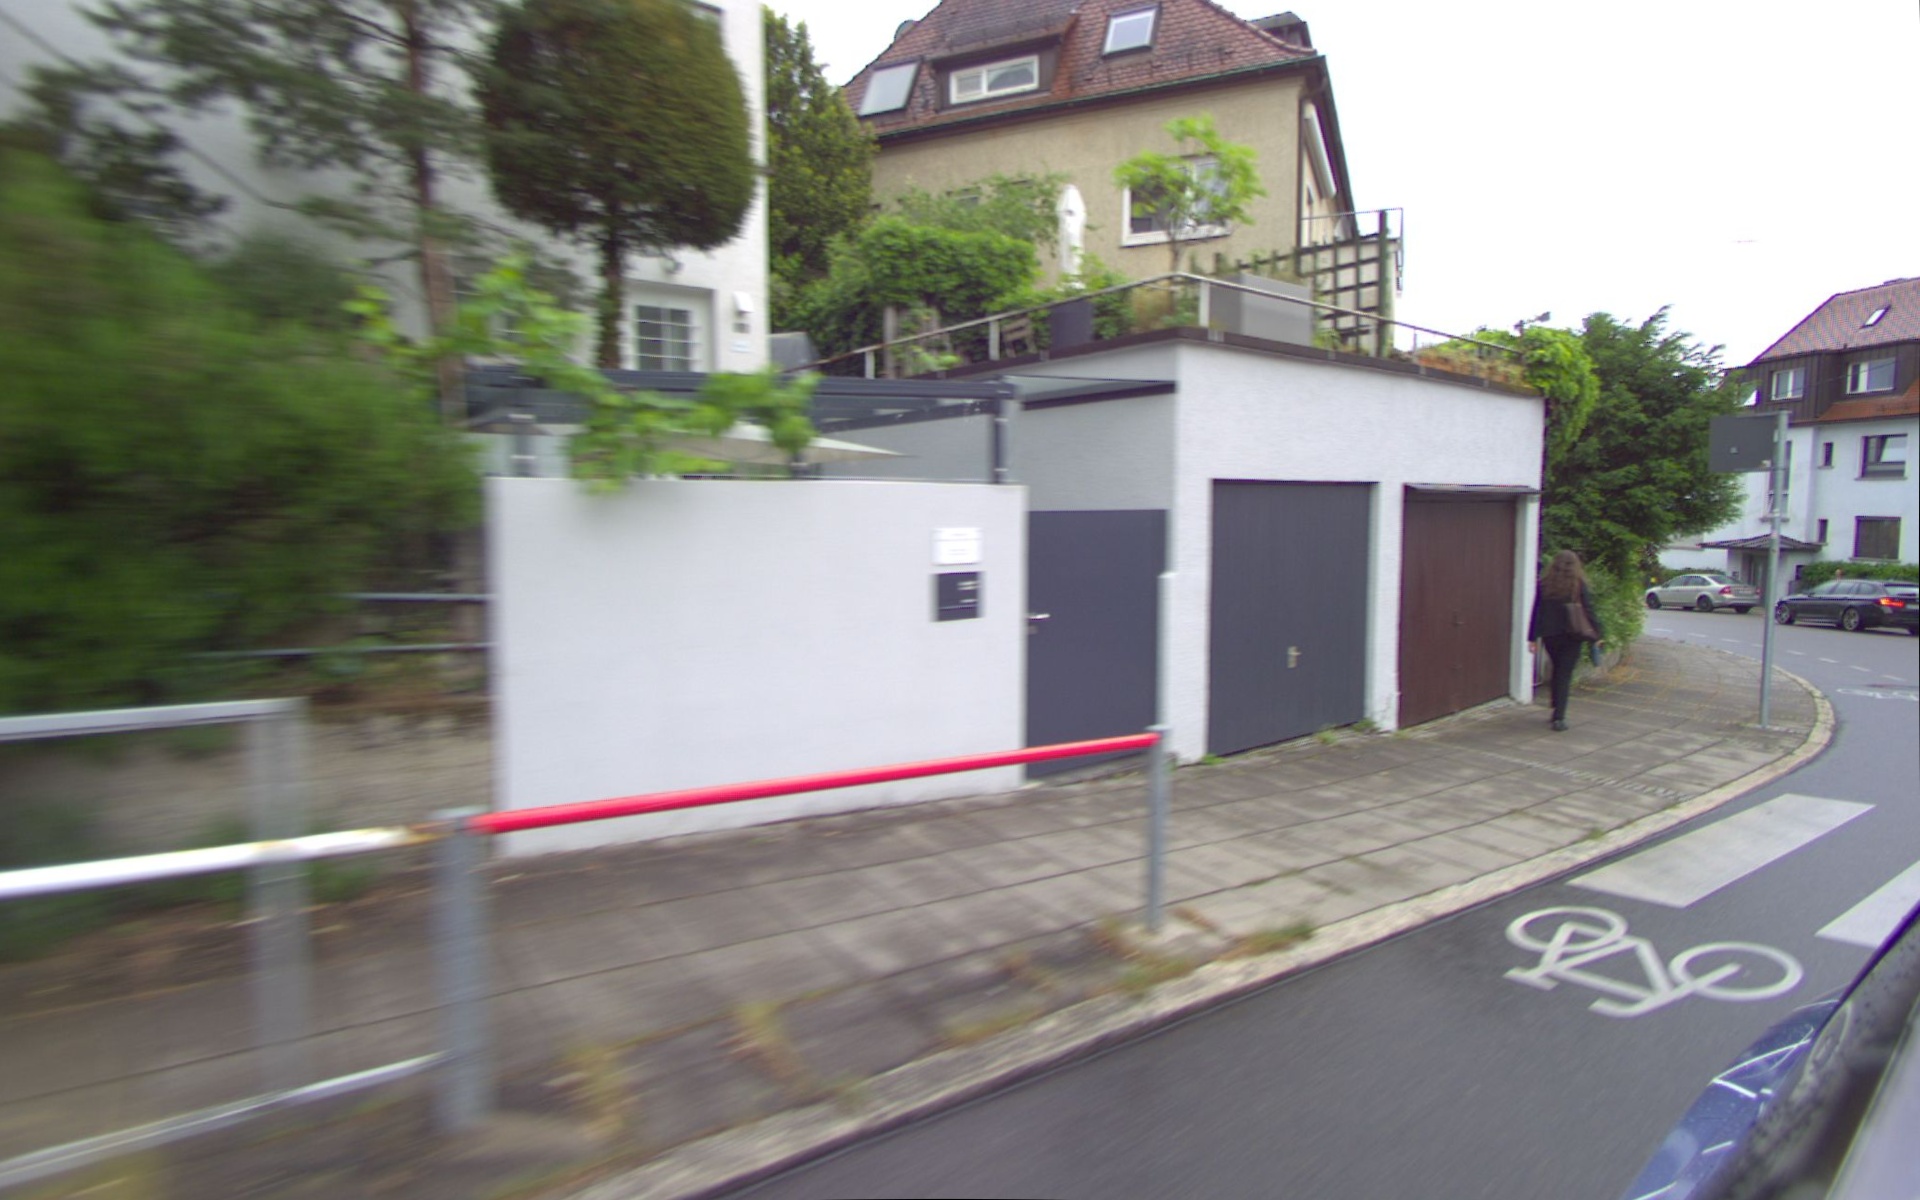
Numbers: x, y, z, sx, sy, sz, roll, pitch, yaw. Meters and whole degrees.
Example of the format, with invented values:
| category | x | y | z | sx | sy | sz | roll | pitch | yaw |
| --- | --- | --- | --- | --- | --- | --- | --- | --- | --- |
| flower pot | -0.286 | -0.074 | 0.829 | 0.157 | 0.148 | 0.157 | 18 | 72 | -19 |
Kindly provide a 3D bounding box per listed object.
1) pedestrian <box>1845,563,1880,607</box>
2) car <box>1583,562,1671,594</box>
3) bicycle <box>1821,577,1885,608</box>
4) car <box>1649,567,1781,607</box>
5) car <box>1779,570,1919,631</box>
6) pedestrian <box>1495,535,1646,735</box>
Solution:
| category | x | y | z | sx | sy | sz | roll | pitch | yaw |
| --- | --- | --- | --- | --- | --- | --- | --- | --- | --- |
| pedestrian | 33.516 | -0.562 | 37.596 | 0.928 | 1.596 | 0.495 | -2 | 2 | -8 |
| car | 36.239 | -1.185 | 55.001 | 3.915 | 1.368 | 1.747 | 4 | 3 | -17 |
| bicycle | 32.890 | -0.291 | 37.307 | 0.448 | 1.080 | 1.925 | -2 | 2 | -8 |
| car | 29.911 | -0.560 | 40.265 | 1.805 | 1.442 | 4.235 | 0 | 2 | -5 |
| car | 26.139 | -0.009 | 29.003 | 1.844 | 1.509 | 4.631 | 4 | 3 | 7 |
| pedestrian | 5.784 | 0.288 | 9.591 | 1.041 | 1.742 | 0.806 | -1 | 5 | -38 |
